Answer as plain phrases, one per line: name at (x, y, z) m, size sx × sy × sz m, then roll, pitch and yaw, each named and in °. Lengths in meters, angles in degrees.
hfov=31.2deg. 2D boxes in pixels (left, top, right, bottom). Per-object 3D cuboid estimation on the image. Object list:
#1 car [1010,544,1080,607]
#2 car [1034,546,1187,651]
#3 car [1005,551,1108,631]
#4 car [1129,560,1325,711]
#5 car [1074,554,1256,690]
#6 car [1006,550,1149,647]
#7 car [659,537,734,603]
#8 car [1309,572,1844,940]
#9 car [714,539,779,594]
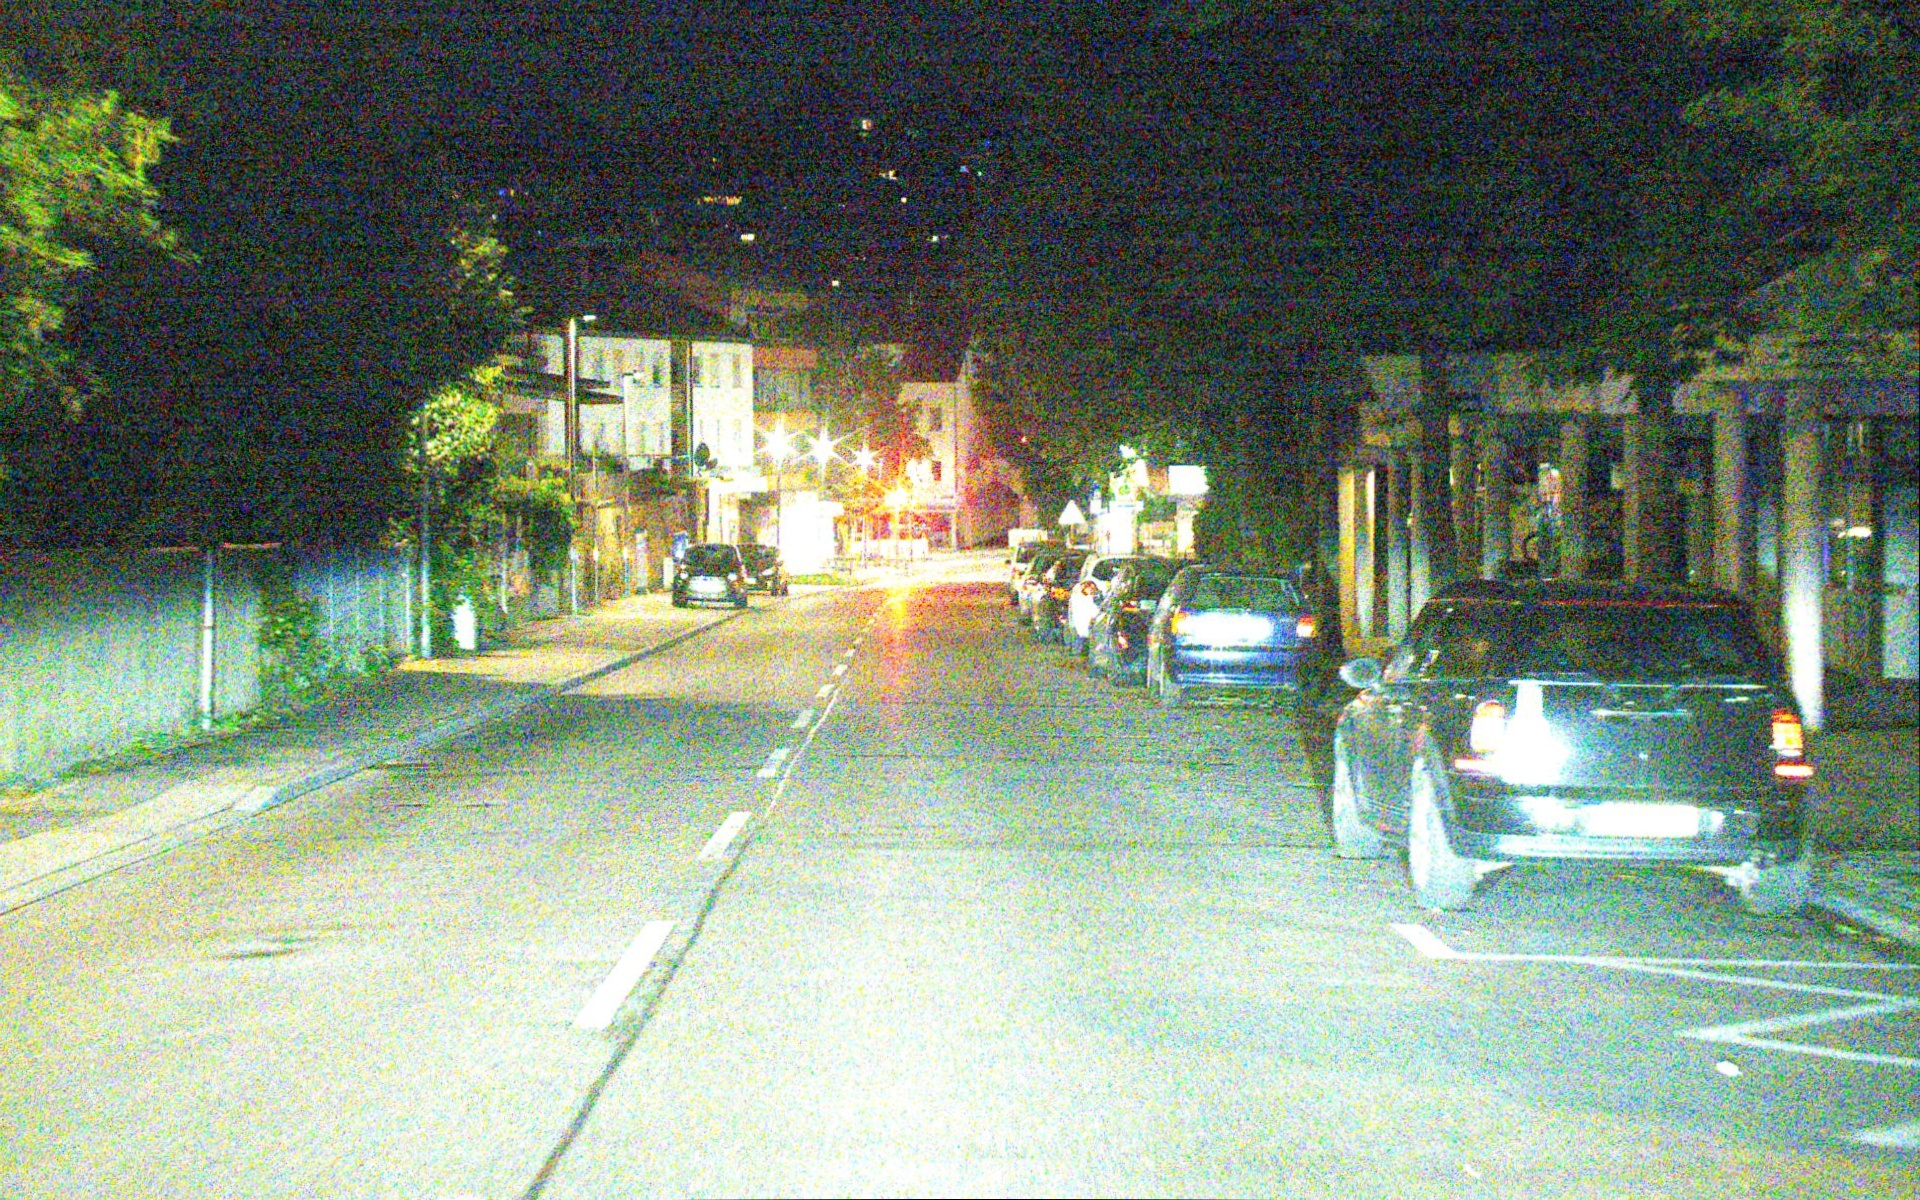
car at (2.131, -0.643, 87.211) m, size 1.682 × 1.534 × 4.000 m, roll 0°, pitch 1°, yaw 0°
car at (2.185, -0.052, 50.974) m, size 1.682 × 1.443 × 4.001 m, roll 1°, pitch 1°, yaw -6°
car at (1.841, -0.193, 66.804) m, size 1.682 × 1.443 × 4.001 m, roll 2°, pitch 1°, yaw -2°
car at (2.726, 0.320, 35.532) m, size 1.868 × 1.398 × 4.000 m, roll 2°, pitch 1°, yaw 3°
car at (2.352, 0.220, 40.379) m, size 1.682 × 1.443 × 4.001 m, roll 2°, pitch 1°, yaw -3°
car at (1.863, -0.045, 55.627) m, size 1.682 × 1.443 × 4.001 m, roll 1°, pitch 1°, yaw -7°
car at (-6.304, -0.736, 82.384) m, size 1.753 × 1.534 × 3.731 m, roll 0°, pitch 1°, yaw -4°
car at (2.693, 0.618, 15.857) m, size 1.629 × 1.434 × 3.865 m, roll 1°, pitch 1°, yaw -2°
car at (-6.163, -0.987, 99.507) m, size 1.753 × 1.534 × 3.731 m, roll 0°, pitch 1°, yaw -2°
